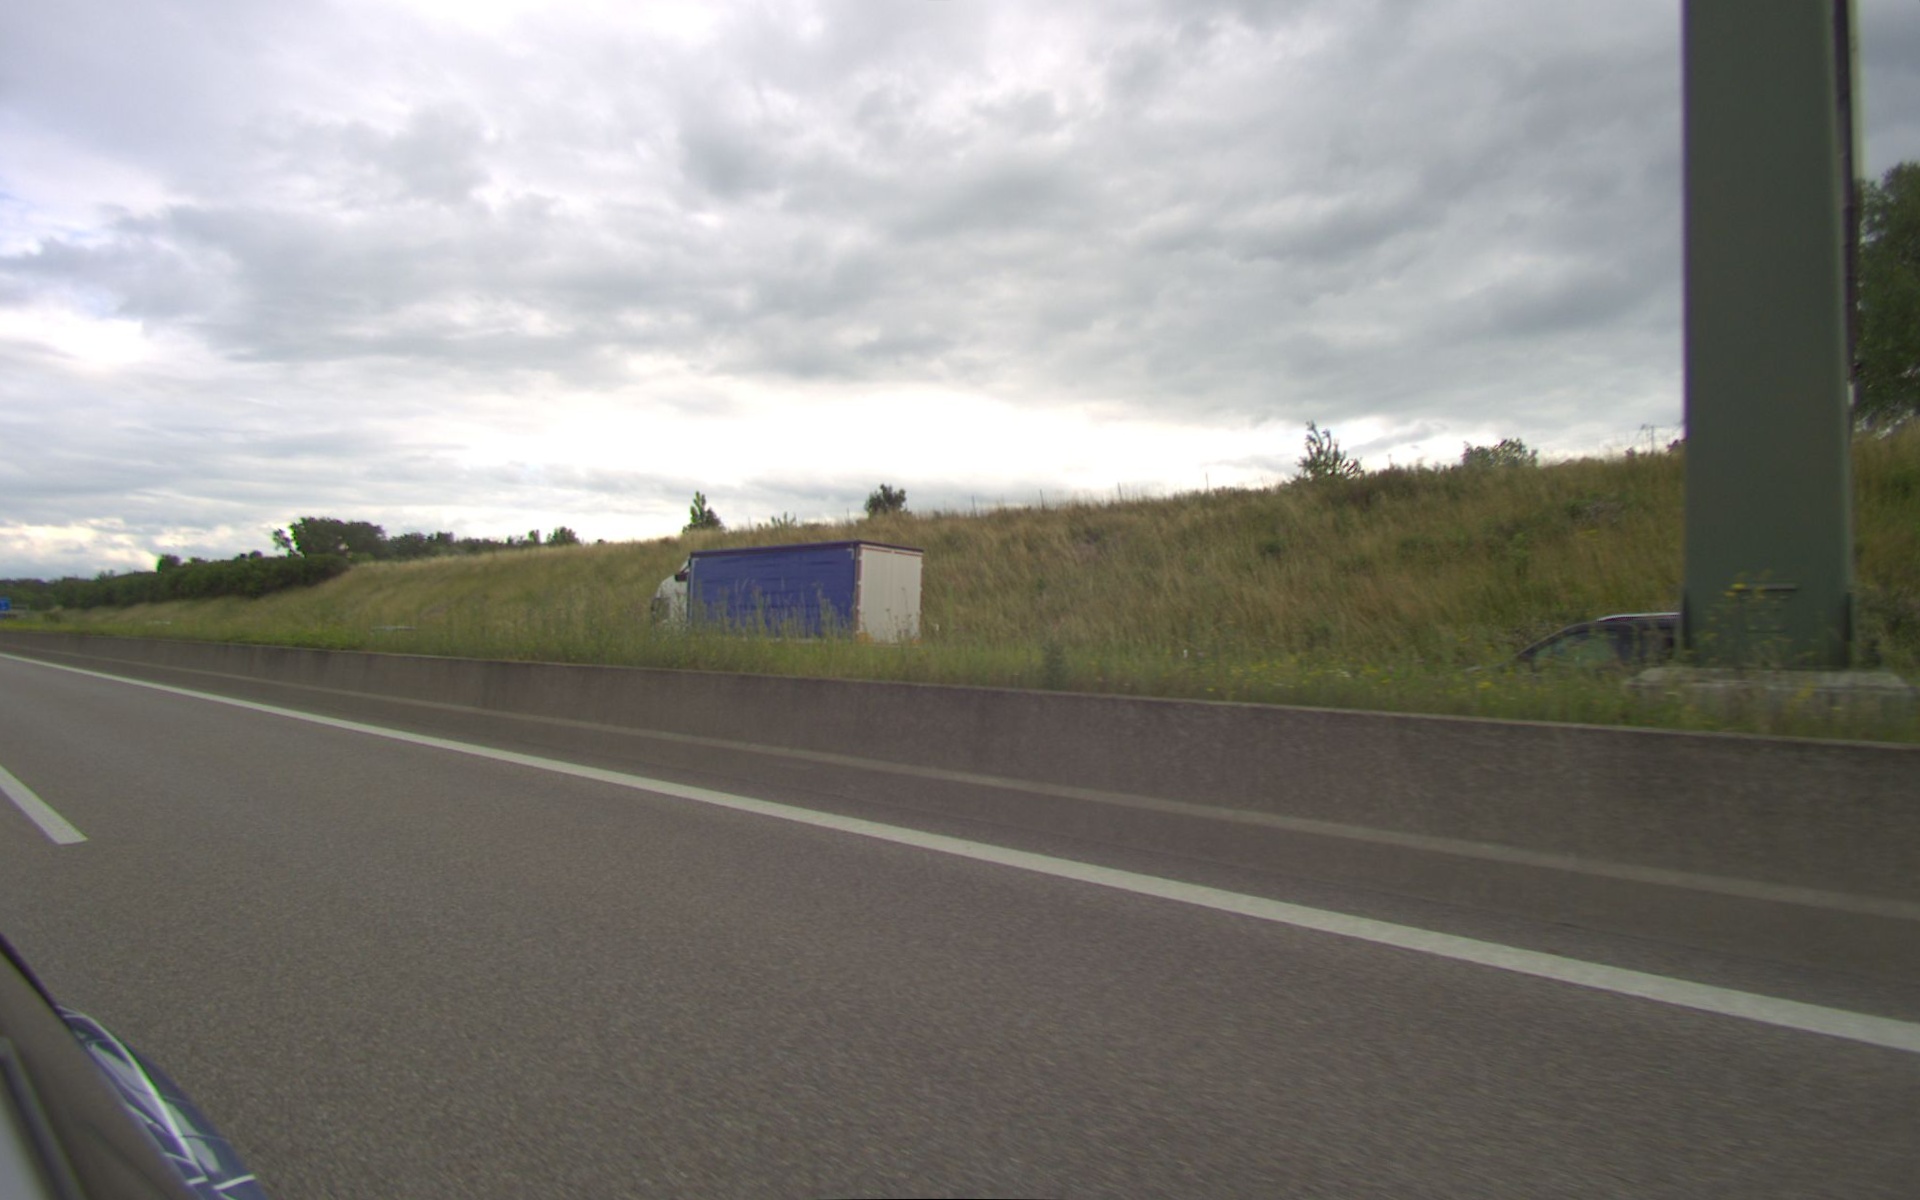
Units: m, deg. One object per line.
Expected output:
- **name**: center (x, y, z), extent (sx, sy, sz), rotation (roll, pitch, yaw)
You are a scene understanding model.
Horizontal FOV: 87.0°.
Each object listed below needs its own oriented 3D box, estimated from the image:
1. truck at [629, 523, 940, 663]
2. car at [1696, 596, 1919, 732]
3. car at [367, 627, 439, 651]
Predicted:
- **truck**: center (-5.735, -0.085, 30.956), extent (10.929, 3.630, 3.225), rotation (-1, -2, 41)
- **car**: center (10.677, 0.691, 11.715), extent (3.363, 1.459, 1.554), rotation (-1, 0, 41)
- **car**: center (-22.520, 1.561, 40.882), extent (3.345, 0.868, 1.509), rotation (-1, 0, 41)
